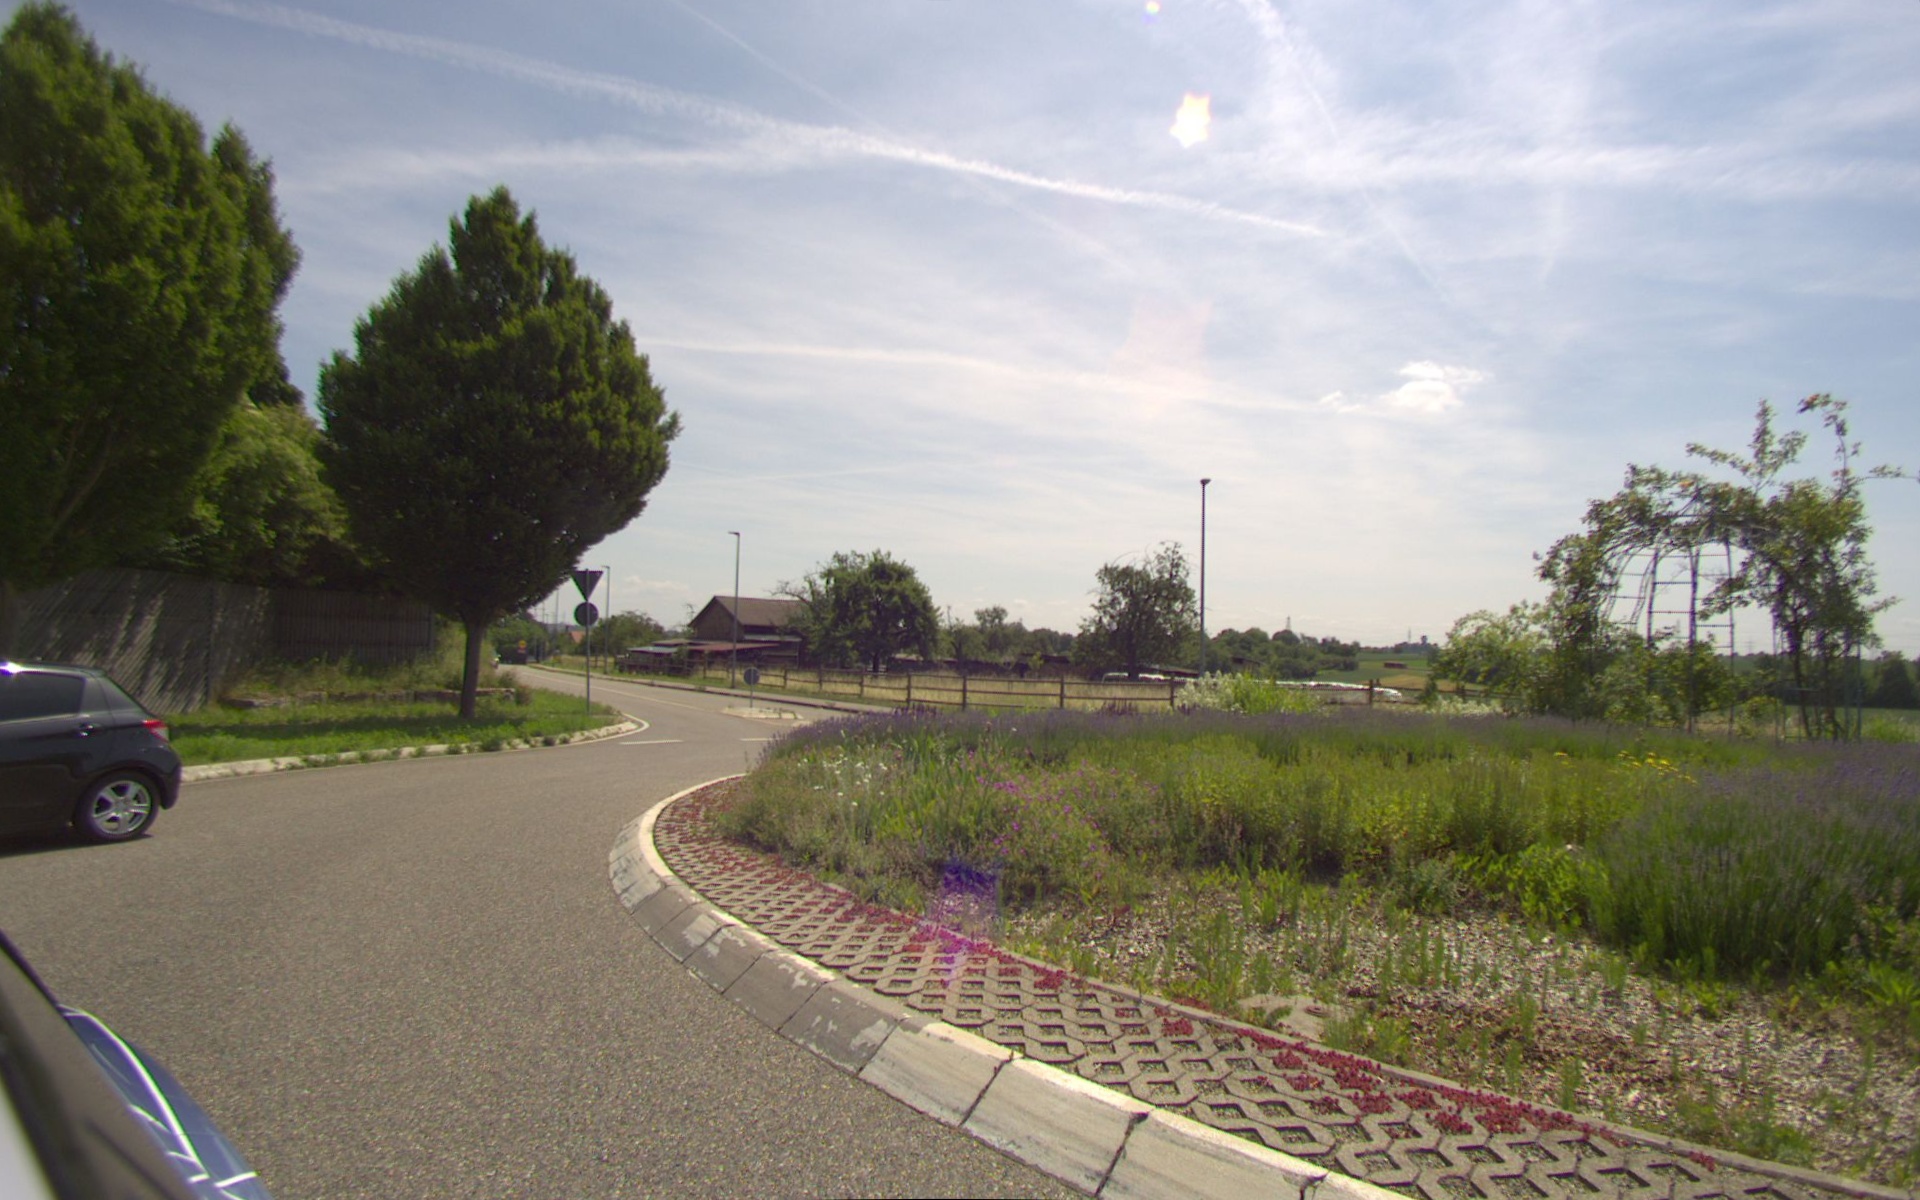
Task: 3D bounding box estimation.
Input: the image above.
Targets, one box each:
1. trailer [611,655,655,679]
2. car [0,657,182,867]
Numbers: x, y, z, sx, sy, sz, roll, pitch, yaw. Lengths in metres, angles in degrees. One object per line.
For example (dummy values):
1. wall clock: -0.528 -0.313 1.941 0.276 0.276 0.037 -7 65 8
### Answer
1. trailer: -25.739 5.278 79.559 2.125 1.716 5.044 5 -5 -30
2. car: -7.943 1.109 6.527 1.666 1.476 4.401 -1 -3 20
